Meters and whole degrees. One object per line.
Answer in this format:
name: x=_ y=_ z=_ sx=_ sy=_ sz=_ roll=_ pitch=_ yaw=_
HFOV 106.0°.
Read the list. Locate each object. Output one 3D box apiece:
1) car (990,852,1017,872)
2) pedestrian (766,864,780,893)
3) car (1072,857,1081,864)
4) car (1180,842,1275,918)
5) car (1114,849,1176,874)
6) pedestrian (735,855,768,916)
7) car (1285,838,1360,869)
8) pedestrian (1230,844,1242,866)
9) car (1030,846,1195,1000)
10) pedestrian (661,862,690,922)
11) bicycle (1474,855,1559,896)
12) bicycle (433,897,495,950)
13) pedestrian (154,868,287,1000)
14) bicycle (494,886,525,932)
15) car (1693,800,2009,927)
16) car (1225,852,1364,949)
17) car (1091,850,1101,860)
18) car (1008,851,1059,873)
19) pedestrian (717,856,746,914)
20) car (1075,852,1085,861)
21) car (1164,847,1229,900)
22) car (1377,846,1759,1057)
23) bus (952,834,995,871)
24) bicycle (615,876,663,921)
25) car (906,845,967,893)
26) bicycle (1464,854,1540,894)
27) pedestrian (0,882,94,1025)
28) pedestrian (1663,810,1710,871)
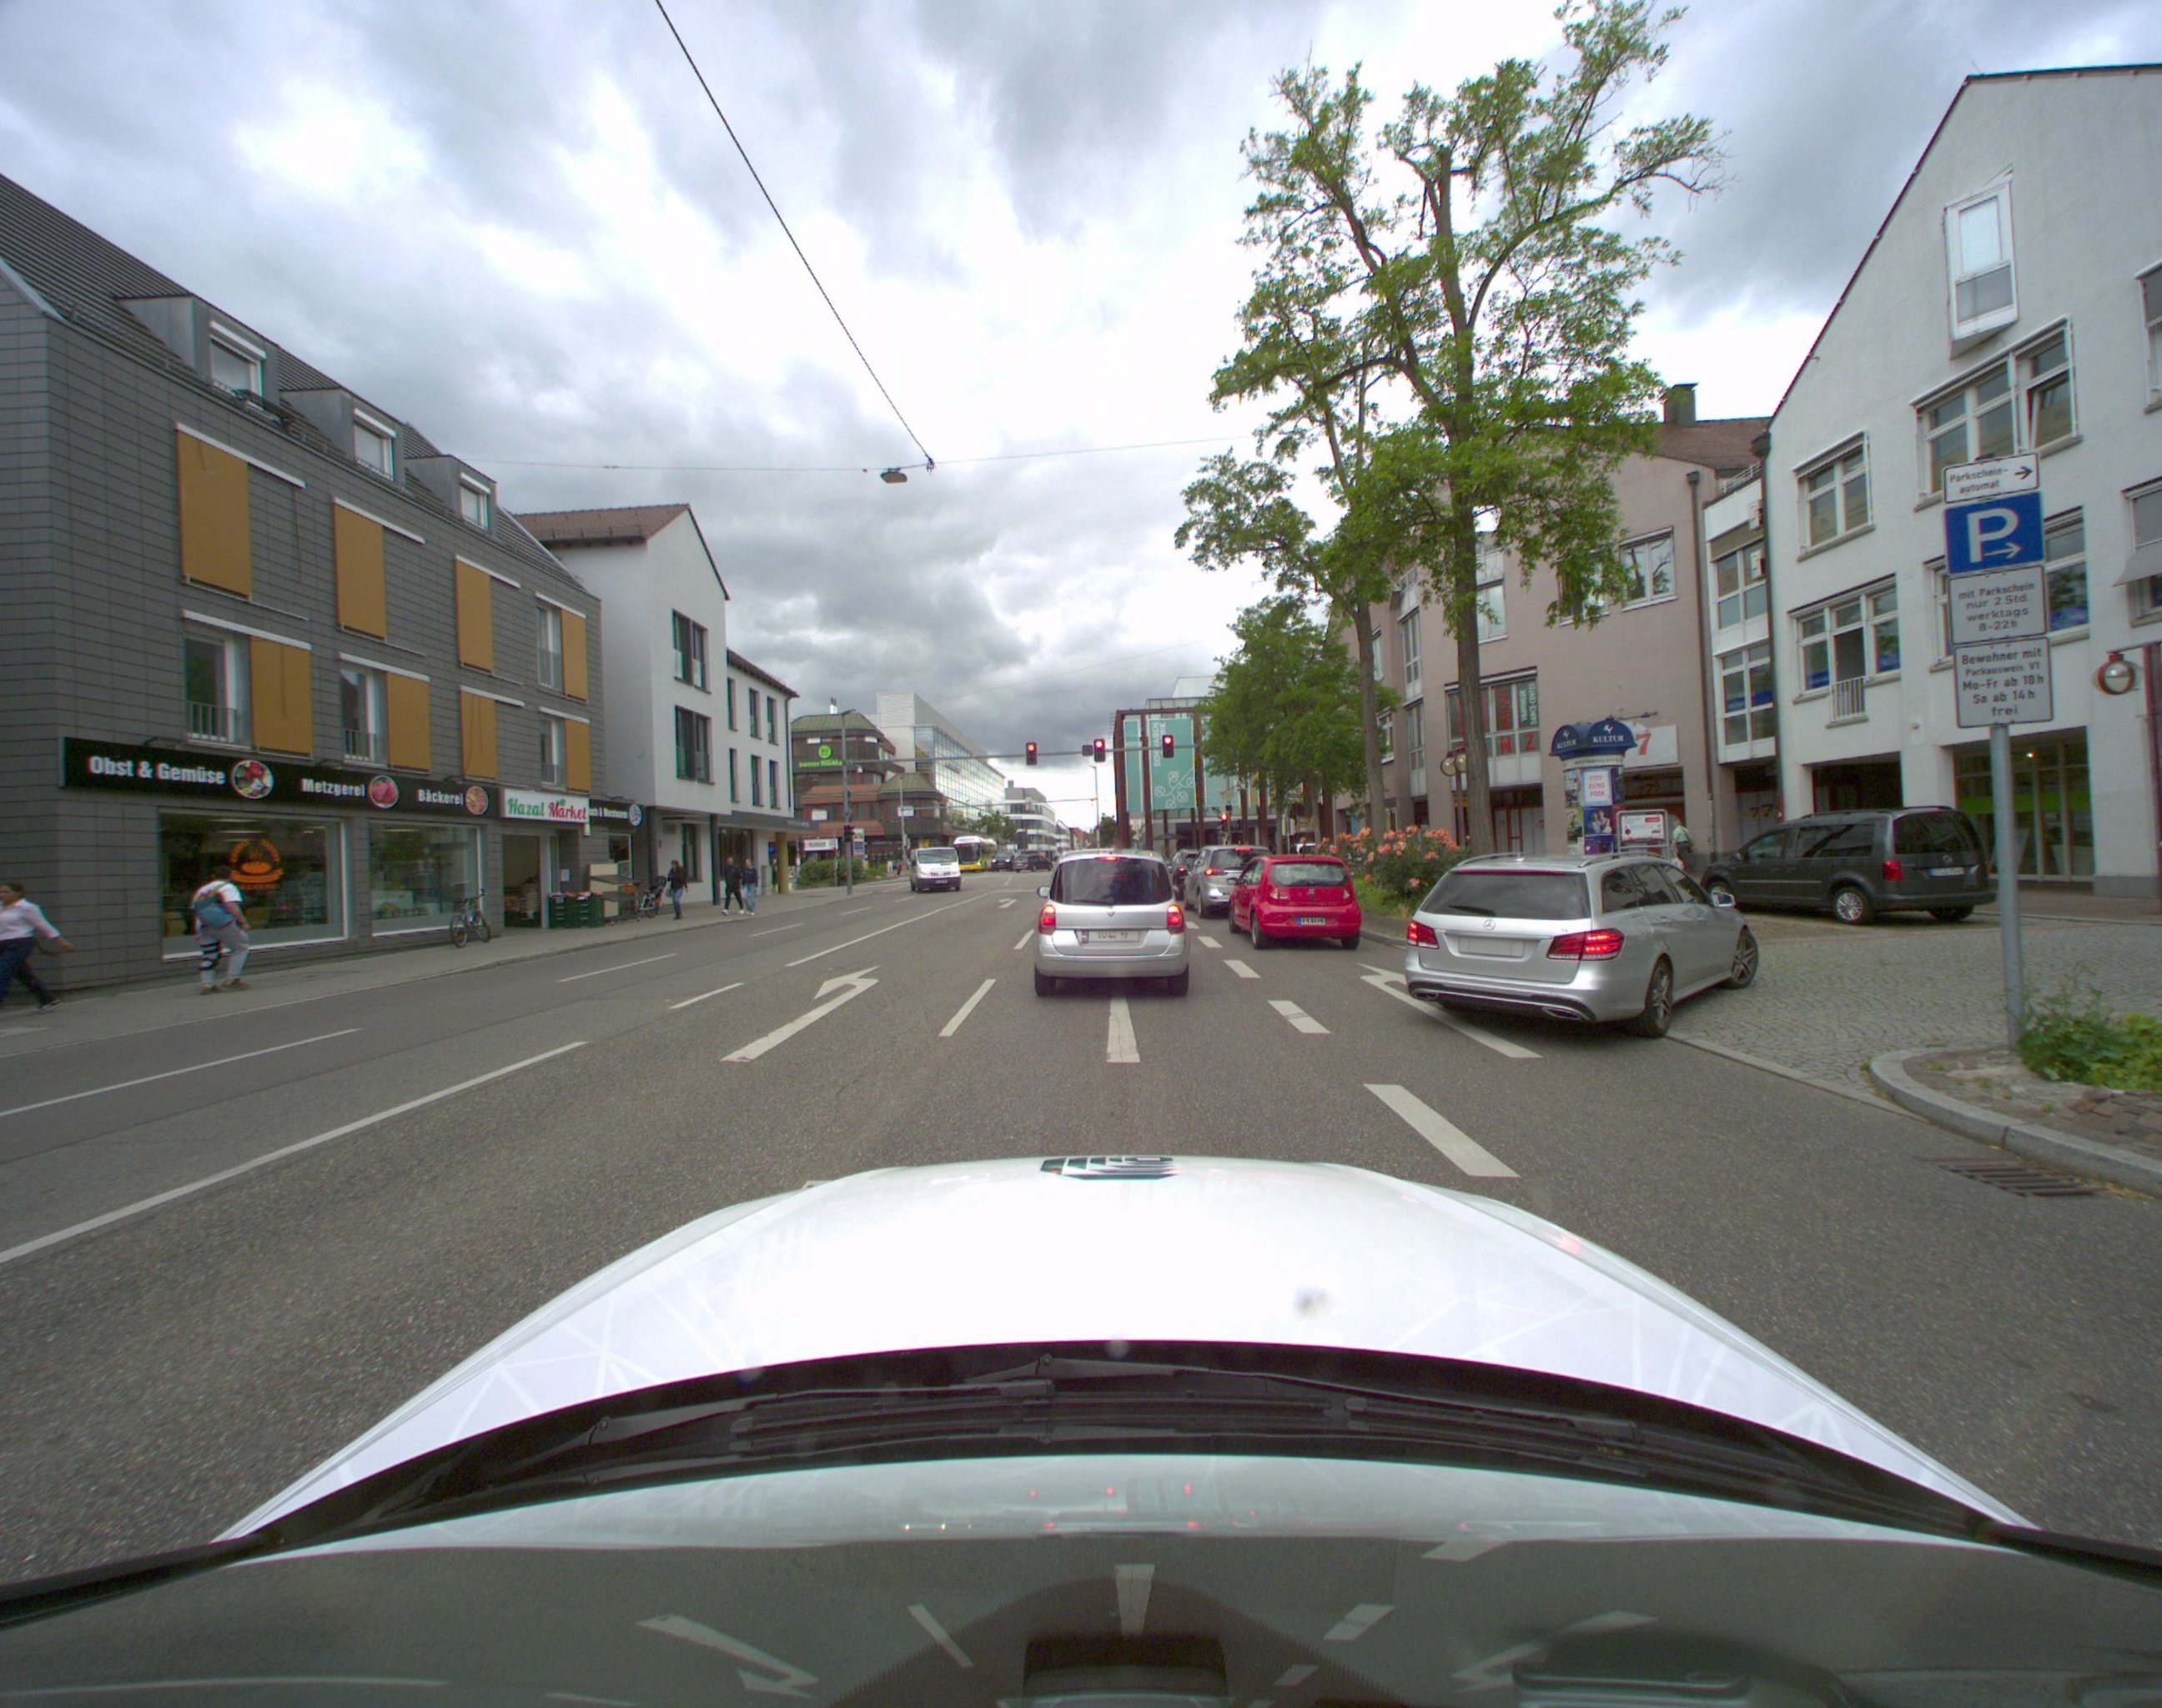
car: x=-7.055 y=0.671 z=74.196 sx=1.987 sy=1.706 sz=4.065 roll=-2 pitch=0 yaw=0
pedestrian: x=-17.590 y=1.386 z=46.496 sx=0.664 sy=1.649 sz=0.788 roll=-2 pitch=0 yaw=-20
car: x=-0.981 y=1.543 z=186.906 sx=1.793 sy=1.540 sz=4.068 roll=-2 pitch=0 yaw=3
car: x=3.411 y=0.560 z=19.551 sx=1.581 sy=1.634 sz=3.916 roll=0 pitch=0 yaw=0
car: x=4.036 y=0.453 z=51.679 sx=3.816 sy=1.389 sz=1.685 roll=-2 pitch=0 yaw=2
pedestrian: x=-10.065 y=0.951 z=24.871 sx=0.680 sy=1.790 sz=0.648 roll=-2 pitch=0 yaw=-1
car: x=15.238 y=-0.026 z=51.488 sx=4.369 sy=1.773 sz=1.327 roll=-2 pitch=0 yaw=1
pedestrian: x=11.745 y=0.050 z=61.817 sx=0.652 sy=1.650 sz=0.557 roll=-2 pitch=0 yaw=-13
car: x=0.365 y=0.688 z=9.866 sx=1.634 sy=1.527 sz=3.395 roll=-1 pitch=0 yaw=1
pedestrian: x=-11.600 y=1.067 z=23.290 sx=0.654 sy=1.650 sz=0.555 roll=-2 pitch=0 yaw=-22
bicycle: x=11.339 y=0.557 z=21.239 sx=1.892 sy=0.997 sz=0.468 roll=-2 pitch=0 yaw=5
bicycle: x=-12.601 y=1.400 z=16.669 sx=0.325 sy=0.954 sz=1.478 roll=-2 pitch=0 yaw=-9
pedestrian: x=-11.791 y=1.055 z=11.198 sx=0.751 sy=1.705 sz=0.981 roll=1 pitch=0 yaw=1
bicycle: x=-14.668 y=1.396 z=20.910 sx=1.274 sy=1.127 sz=0.390 roll=-2 pitch=0 yaw=44
car: x=13.145 y=0.129 z=14.295 sx=1.633 sy=1.831 sz=3.963 roll=-3 pitch=0 yaw=-3
car: x=3.486 y=0.693 z=13.827 sx=1.580 sy=1.443 sz=3.350 roll=0 pitch=0 yaw=2
car: x=2.945 y=0.149 z=162.897 sx=1.987 sy=1.949 sz=4.951 roll=-2 pitch=0 yaw=1
car: x=-3.939 y=0.644 z=67.898 sx=1.898 sy=1.677 sz=4.269 roll=-2 pitch=0 yaw=37
pedestrian: x=-10.844 y=0.945 z=25.288 sx=0.567 sy=1.775 sz=0.646 roll=-2 pitch=0 yaw=-3
car: x=-0.187 y=0.498 z=158.984 sx=1.793 sy=1.540 sz=4.068 roll=-2 pitch=0 yaw=3
car: x=3.665 y=0.584 z=26.448 sx=1.581 sy=1.595 sz=3.868 roll=0 pitch=0 yaw=0
car: x=4.903 y=0.685 z=7.931 sx=4.391 sy=1.448 sz=1.800 roll=-2 pitch=1 yaw=-39
bus: x=-10.051 y=-0.147 z=76.997 sx=2.678 sy=3.261 sz=8.654 roll=-2 pitch=0 yaw=1
bicycle: x=-12.732 y=1.262 z=23.531 sx=0.385 sy=1.186 sz=1.825 roll=-2 pitch=0 yaw=-1
car: x=-6.606 y=0.667 z=36.859 sx=1.999 sy=1.888 sz=5.128 roll=-3 pitch=0 yaw=-17
bicycle: x=11.256 y=0.524 z=21.796 sx=1.760 sy=0.997 sz=0.447 roll=-2 pitch=0 yaw=5
pedestrian: x=-12.672 y=1.172 z=9.754 sx=0.725 sy=1.610 sz=0.753 roll=-2 pitch=0 yaw=2
pedestrian: x=18.245 y=-0.401 z=24.557 sx=0.786 sy=1.793 sz=0.819 roll=-2 pitch=0 yaw=1
